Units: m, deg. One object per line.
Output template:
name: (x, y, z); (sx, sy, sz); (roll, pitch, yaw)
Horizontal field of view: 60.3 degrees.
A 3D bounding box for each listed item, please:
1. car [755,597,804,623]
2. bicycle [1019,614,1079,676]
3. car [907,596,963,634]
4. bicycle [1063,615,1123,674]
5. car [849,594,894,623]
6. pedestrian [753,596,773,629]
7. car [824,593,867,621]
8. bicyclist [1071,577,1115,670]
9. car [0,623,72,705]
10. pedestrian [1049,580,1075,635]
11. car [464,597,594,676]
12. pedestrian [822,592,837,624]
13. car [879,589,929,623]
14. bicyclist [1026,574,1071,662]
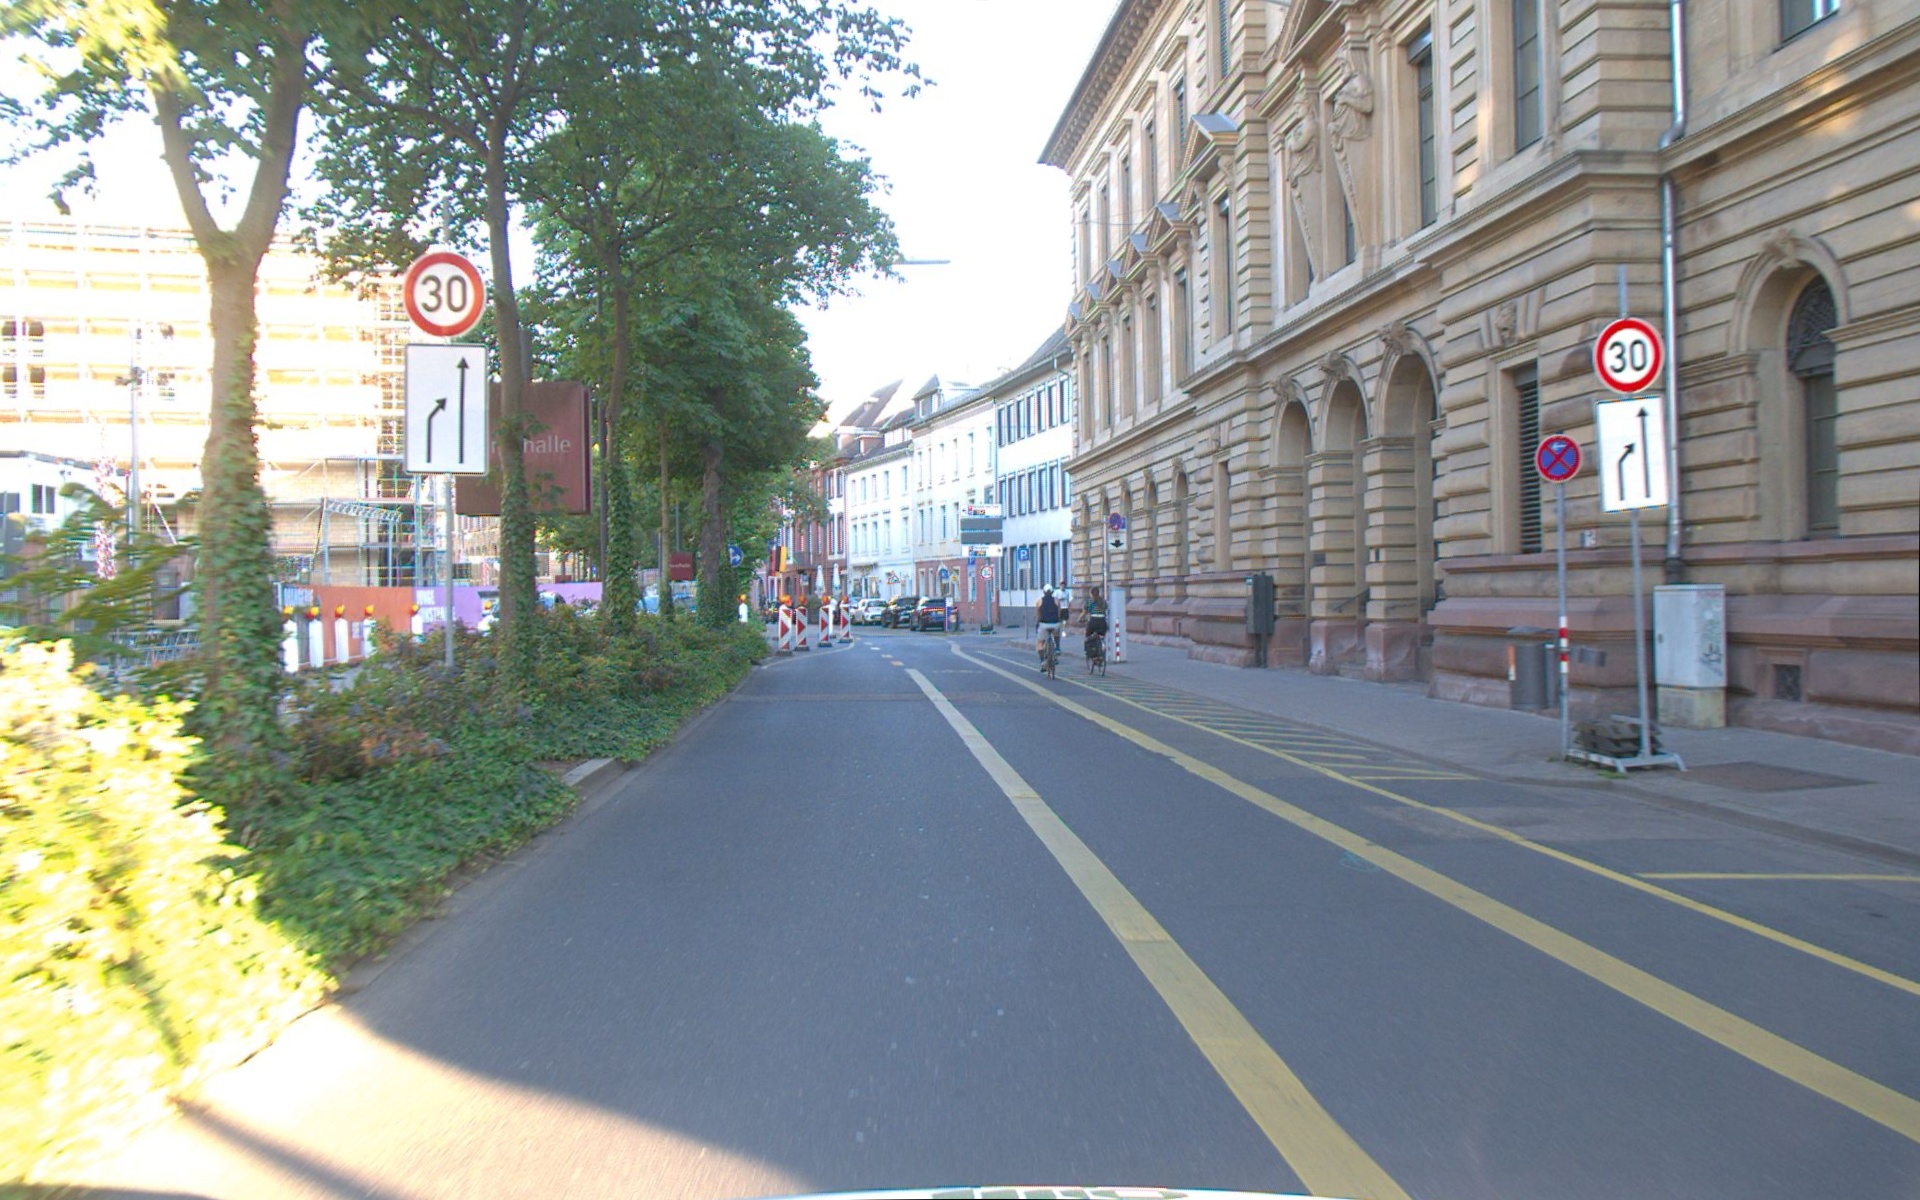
car: (-11.306, 0.624, 103.455); (1.790, 1.587, 3.831); (-1, 0, -26)
bicycle: (1.637, 0.822, 30.810); (0.658, 1.089, 1.895); (1, 0, -12)
car: (-1.207, 0.704, 79.078); (1.782, 1.712, 3.903); (-1, 0, -15)
bicycle: (2.587, 0.848, 32.346); (0.641, 1.089, 2.253); (1, 0, -9)
car: (-5.101, 0.481, 95.006); (1.783, 1.587, 3.847); (-1, 0, -16)
pedestrian: (-10.470, 0.656, 87.833); (0.720, 1.703, 0.895); (-1, 0, 21)
car: (-6.864, 0.429, 99.213); (1.783, 1.587, 3.847); (-1, 0, -16)
bicyclist: (2.597, 0.453, 32.325); (0.637, 1.791, 0.862); (1, 0, -9)
car: (-17.381, 1.160, 29.014); (1.646, 1.374, 3.884); (-3, 0, -3)
pedestrian: (3.374, 0.227, 54.620); (0.800, 1.796, 1.038); (0, 0, 0)
car: (-10.277, 0.829, 39.779); (1.805, 1.703, 4.556); (-3, 0, 0)
pedestrian: (-7.795, 0.458, 98.942); (0.814, 1.877, 0.958); (0, 0, -1)
car: (-2.977, 0.332, 86.924); (1.782, 1.713, 3.983); (-1, 0, -15)
bicyclist: (1.648, 0.333, 30.801); (0.657, 1.593, 0.696); (1, -1, -12)
